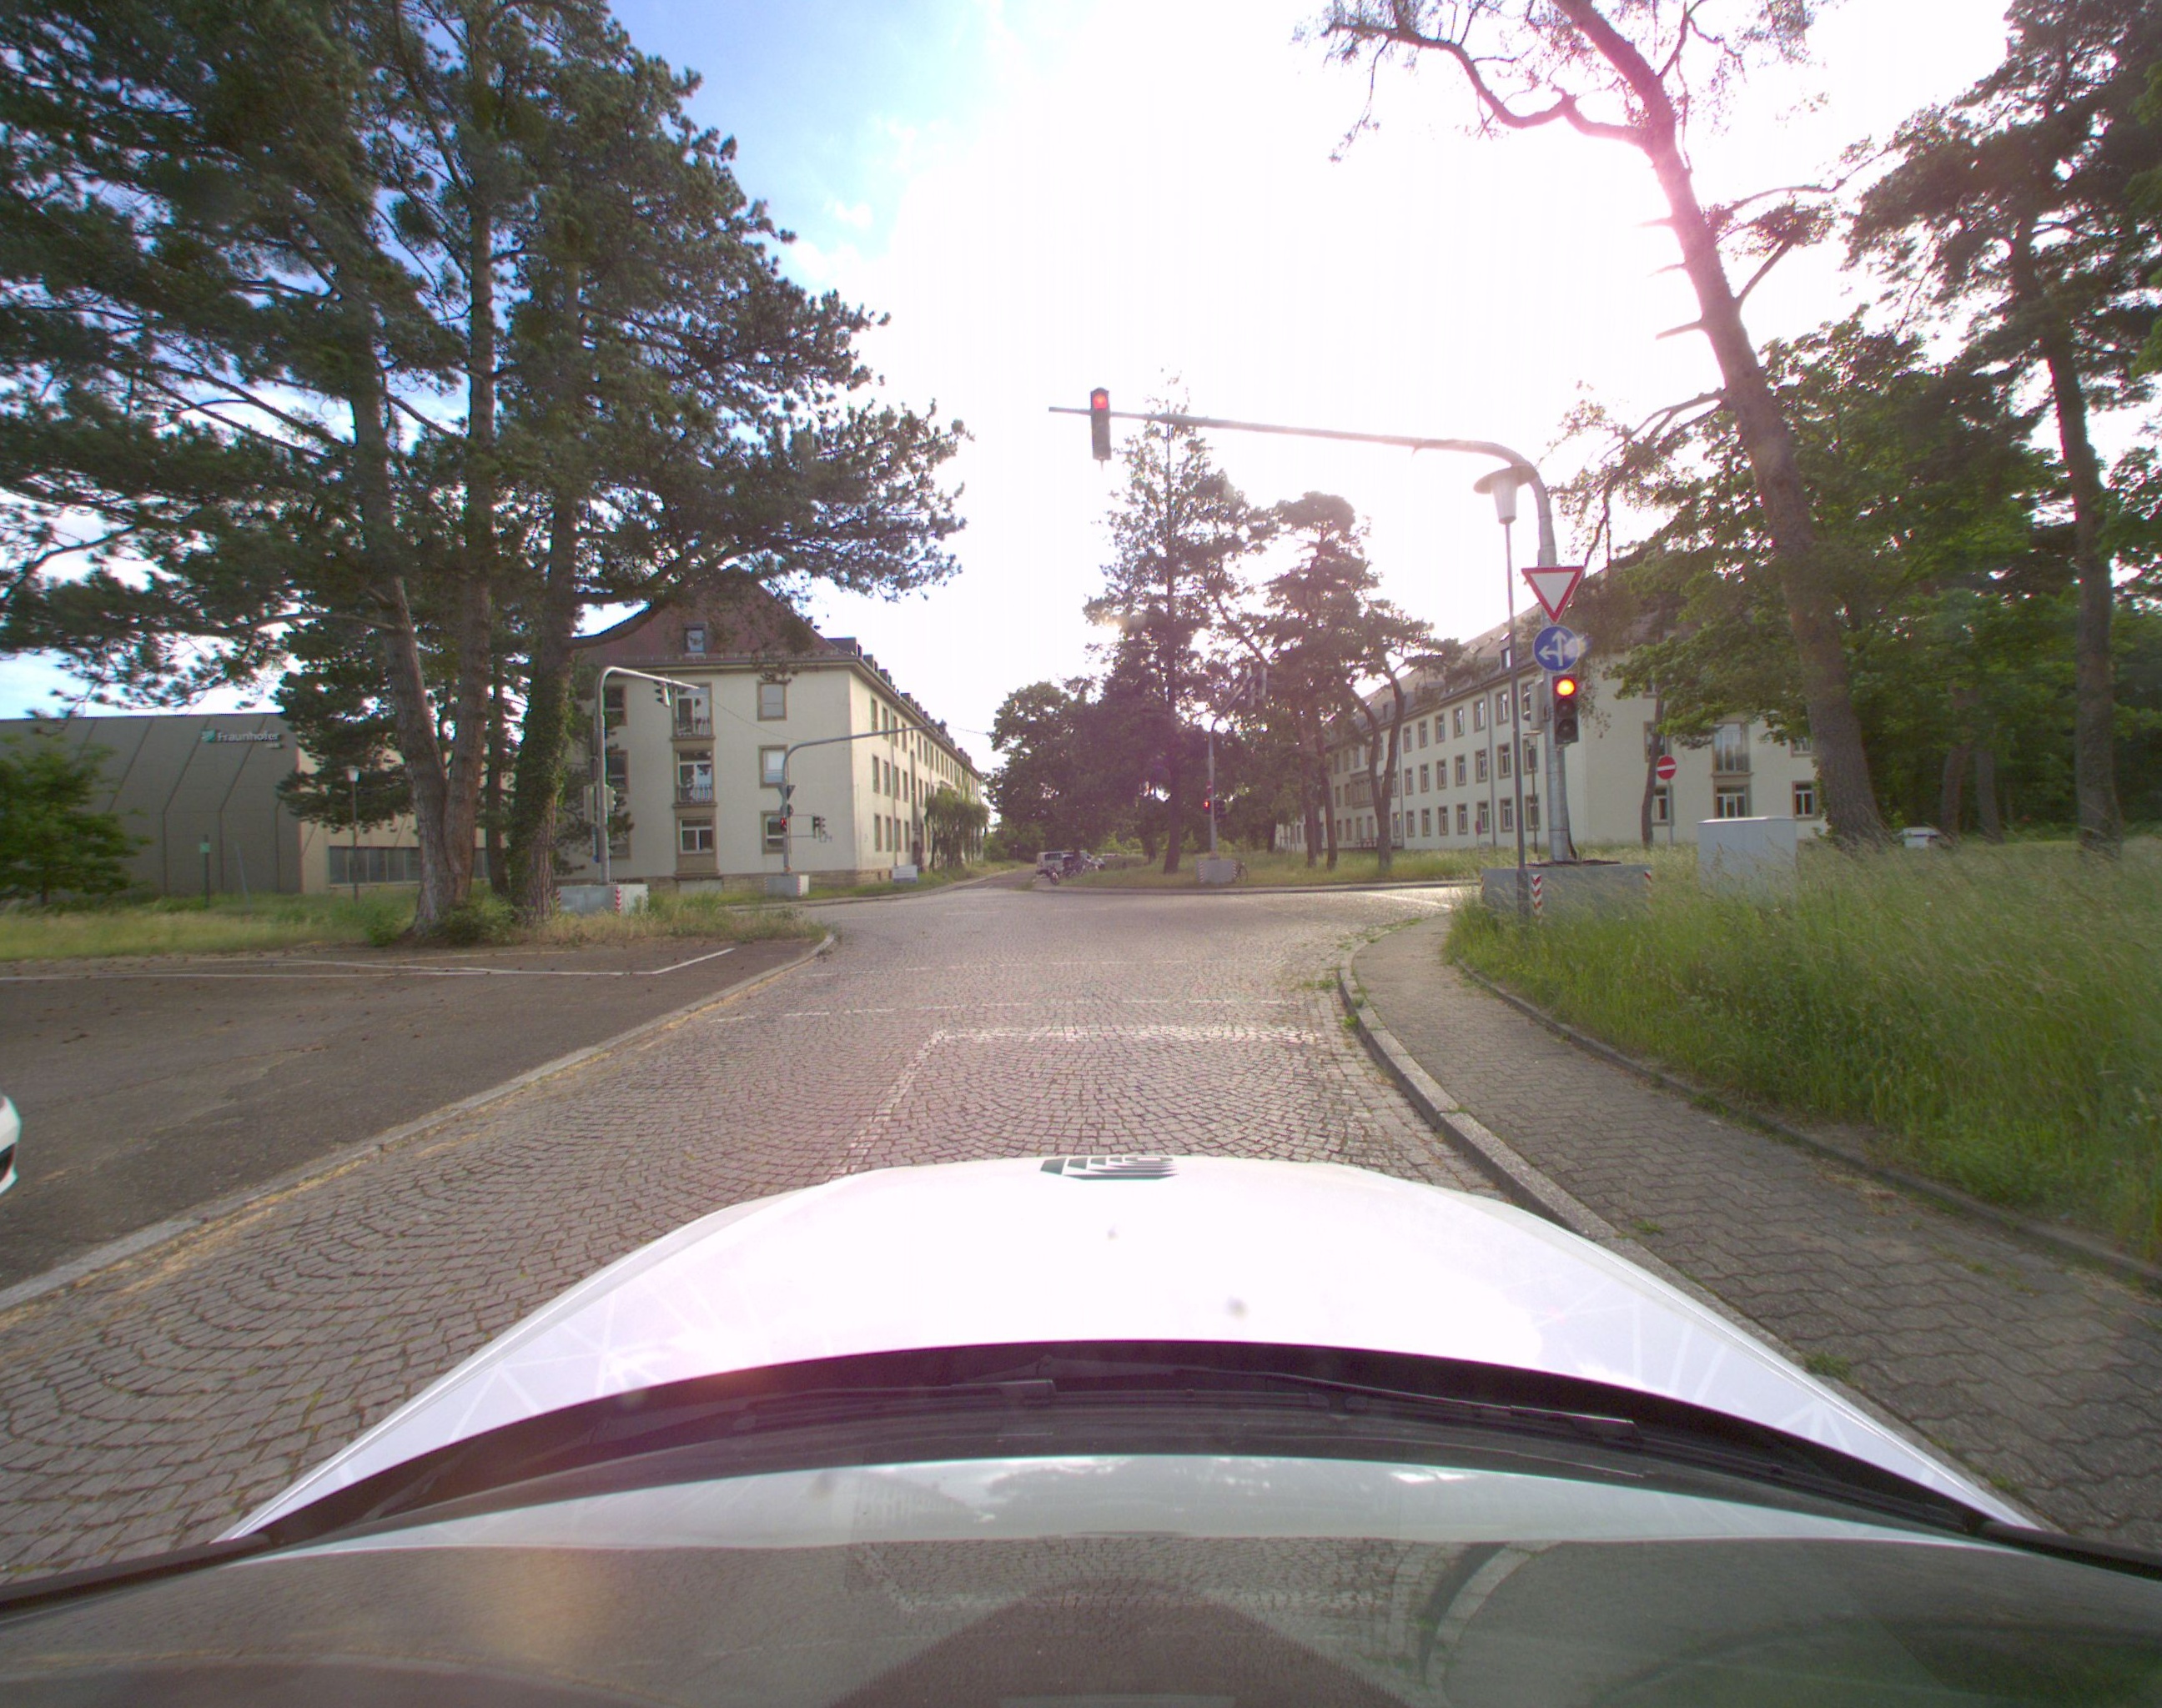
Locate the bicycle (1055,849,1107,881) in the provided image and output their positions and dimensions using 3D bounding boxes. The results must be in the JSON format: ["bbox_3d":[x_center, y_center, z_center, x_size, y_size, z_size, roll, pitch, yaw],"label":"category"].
[{"bbox_3d":[0.009,0.637,46.129,2.775,1.694,1.117,-2,0,-9],"label":"bicycle"}]

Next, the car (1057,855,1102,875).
[{"bbox_3d":[-0.118,0.774,59.322,3.135,1.354,1.616,-2,0,-7],"label":"car"}]

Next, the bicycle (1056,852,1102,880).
[{"bbox_3d":[-0.109,0.745,49.690,2.764,1.694,1.121,0,-1,2],"label":"bicycle"}]

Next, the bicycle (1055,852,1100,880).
[{"bbox_3d":[-0.218,0.736,51.025,2.767,1.694,1.120,0,-1,0],"label":"bicycle"}]

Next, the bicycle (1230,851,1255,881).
[{"bbox_3d":[6.607,0.464,33.340,0.720,1.169,2.741,0,0,5],"label":"bicycle"}]

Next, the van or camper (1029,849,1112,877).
[{"bbox_3d":[-0.815,0.686,62.879,6.043,1.948,1.990,-2,0,-15],"label":"van or camper"}]

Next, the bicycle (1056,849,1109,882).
[{"bbox_3d":[0.056,0.606,44.937,2.773,1.694,1.117,-2,0,-7],"label":"bicycle"}]

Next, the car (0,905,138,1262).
[{"bbox_3d":[-6.660,0.968,2.762,4.470,1.442,1.827,0,0,-5],"label":"car"}]

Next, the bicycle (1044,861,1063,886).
[{"bbox_3d":[-1.344,0.939,40.612,0.723,1.107,2.462,-6,0,0],"label":"bicycle"}]
